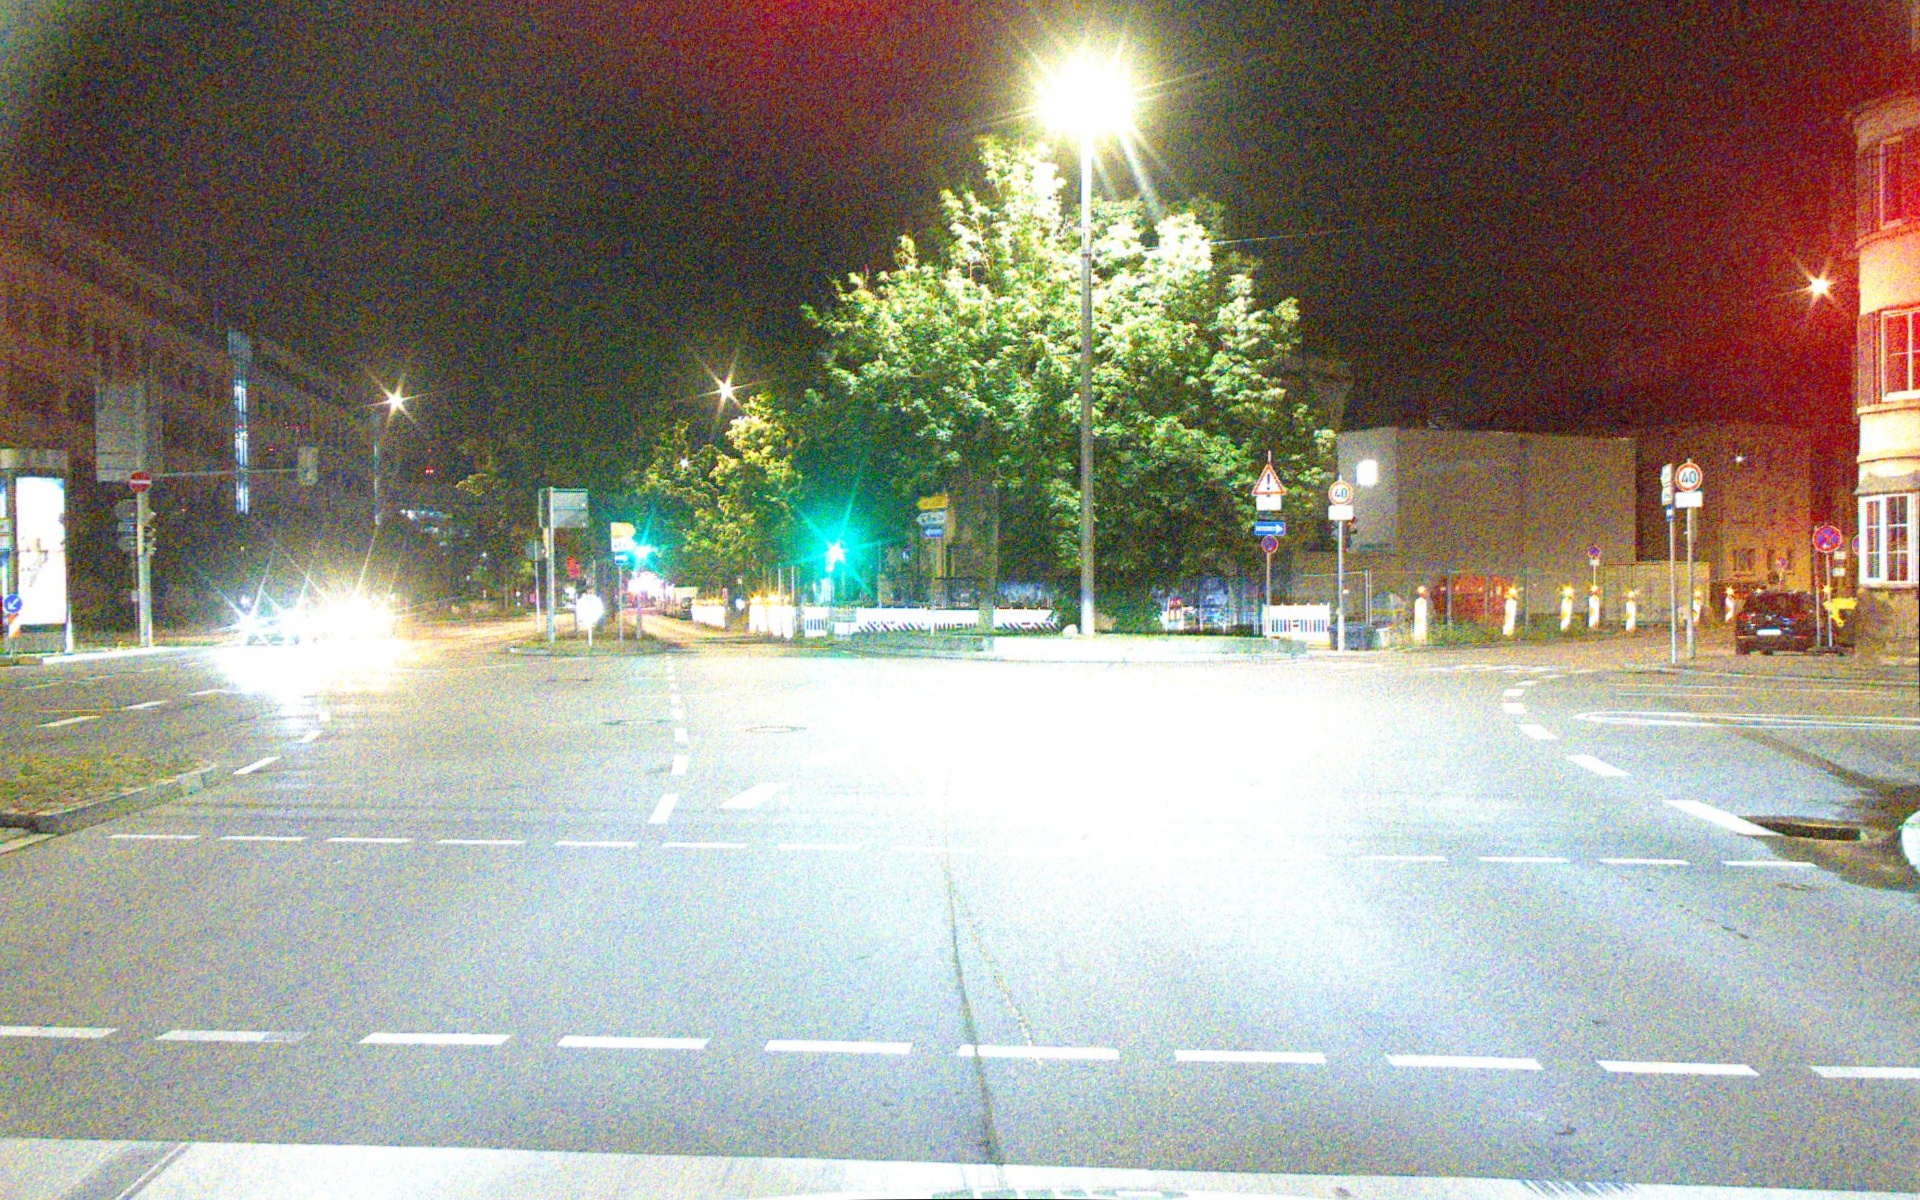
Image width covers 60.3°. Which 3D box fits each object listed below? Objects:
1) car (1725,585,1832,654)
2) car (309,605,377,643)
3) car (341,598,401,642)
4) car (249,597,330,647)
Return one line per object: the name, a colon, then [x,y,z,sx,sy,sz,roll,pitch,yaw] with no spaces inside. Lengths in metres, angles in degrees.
car: [20.499,0.474,41.358,1.700,1.640,3.607,-1,-1,38]
car: [-22.826,0.890,61.303,1.726,1.345,3.539,0,-1,-10]
car: [-24.192,0.818,68.007,1.726,1.758,3.539,0,-1,-10]
car: [-21.858,0.707,54.046,1.586,1.541,3.991,0,-1,-9]
